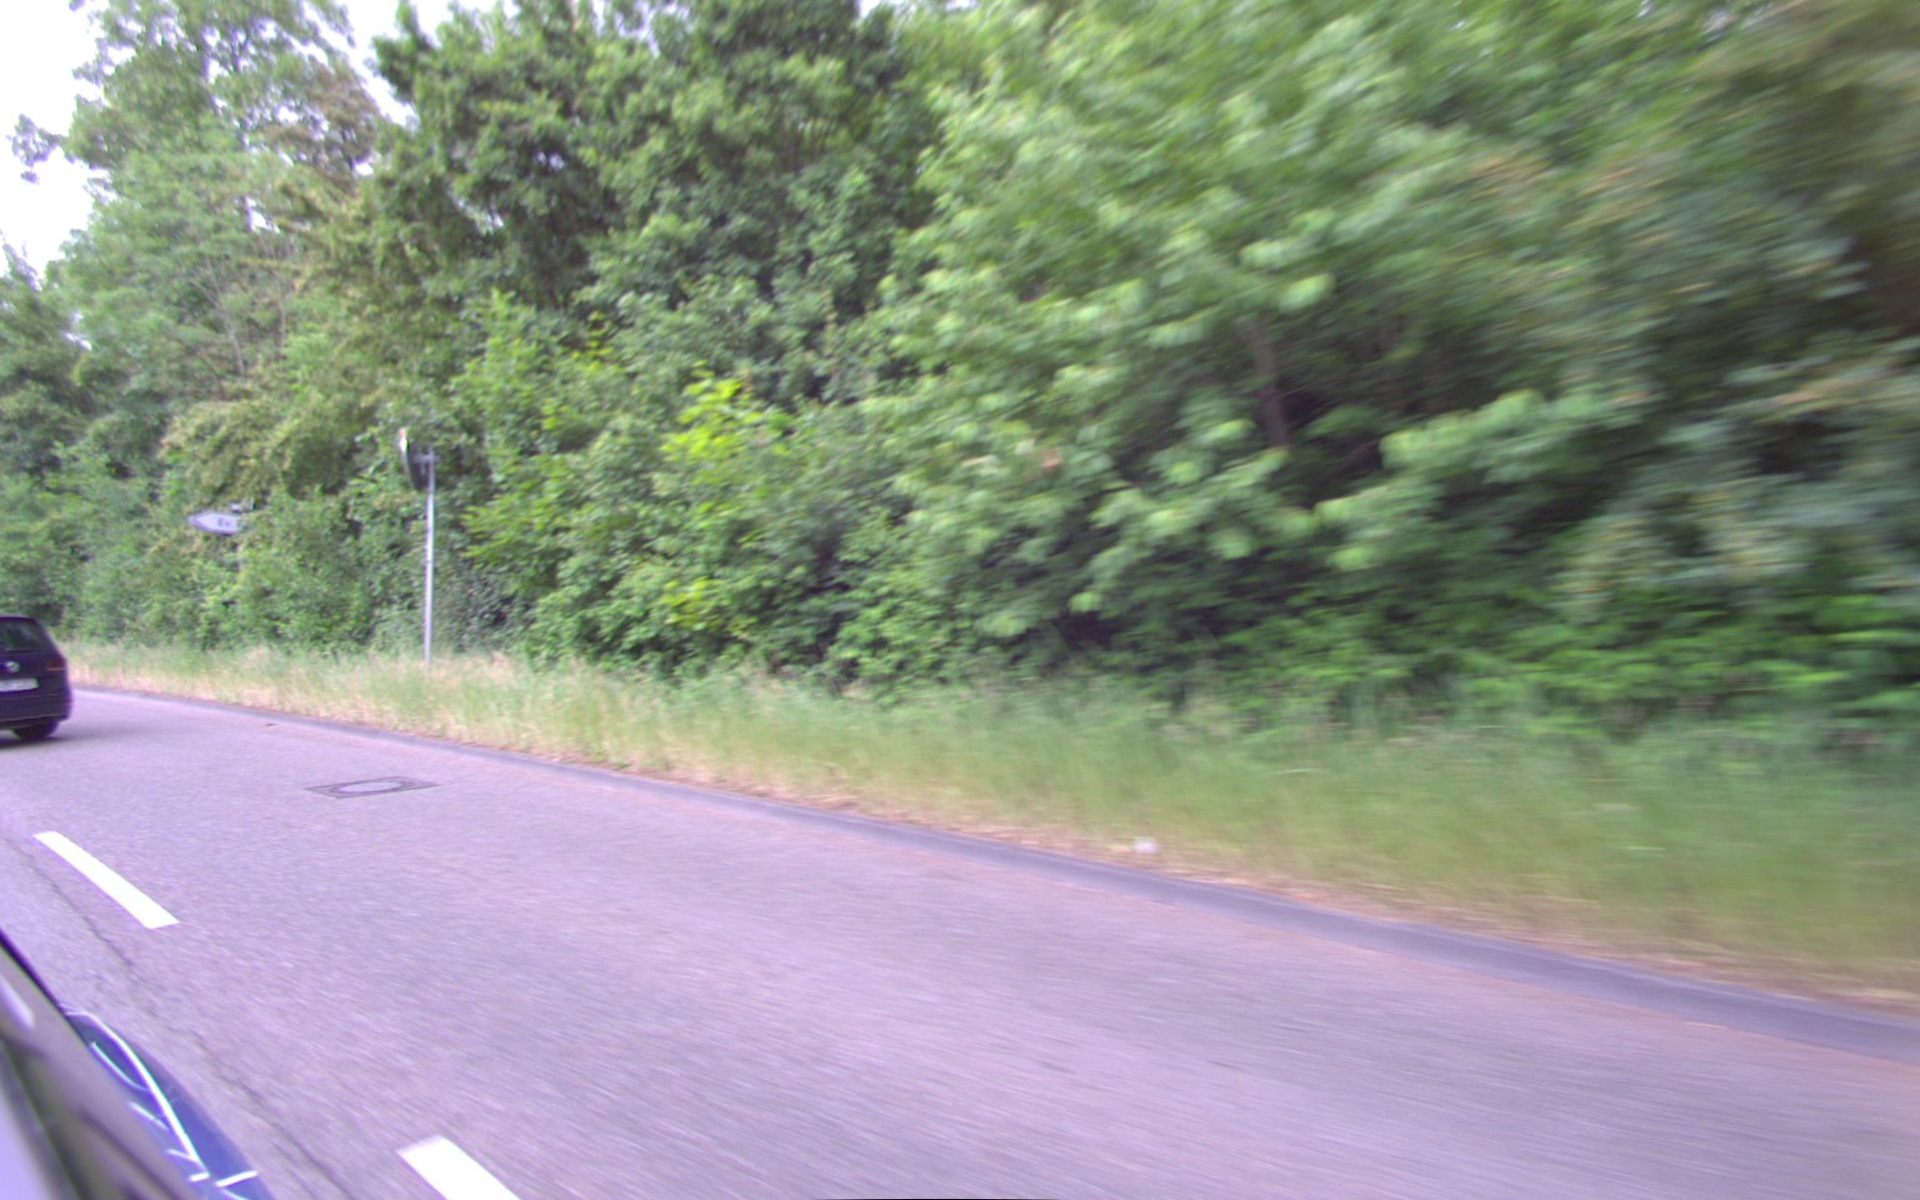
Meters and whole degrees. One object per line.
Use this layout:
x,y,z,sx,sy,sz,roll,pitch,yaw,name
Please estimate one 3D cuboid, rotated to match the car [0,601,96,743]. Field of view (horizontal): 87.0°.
-12.638,0.824,11.417,4.789,1.526,1.789,-1,-1,10,car
